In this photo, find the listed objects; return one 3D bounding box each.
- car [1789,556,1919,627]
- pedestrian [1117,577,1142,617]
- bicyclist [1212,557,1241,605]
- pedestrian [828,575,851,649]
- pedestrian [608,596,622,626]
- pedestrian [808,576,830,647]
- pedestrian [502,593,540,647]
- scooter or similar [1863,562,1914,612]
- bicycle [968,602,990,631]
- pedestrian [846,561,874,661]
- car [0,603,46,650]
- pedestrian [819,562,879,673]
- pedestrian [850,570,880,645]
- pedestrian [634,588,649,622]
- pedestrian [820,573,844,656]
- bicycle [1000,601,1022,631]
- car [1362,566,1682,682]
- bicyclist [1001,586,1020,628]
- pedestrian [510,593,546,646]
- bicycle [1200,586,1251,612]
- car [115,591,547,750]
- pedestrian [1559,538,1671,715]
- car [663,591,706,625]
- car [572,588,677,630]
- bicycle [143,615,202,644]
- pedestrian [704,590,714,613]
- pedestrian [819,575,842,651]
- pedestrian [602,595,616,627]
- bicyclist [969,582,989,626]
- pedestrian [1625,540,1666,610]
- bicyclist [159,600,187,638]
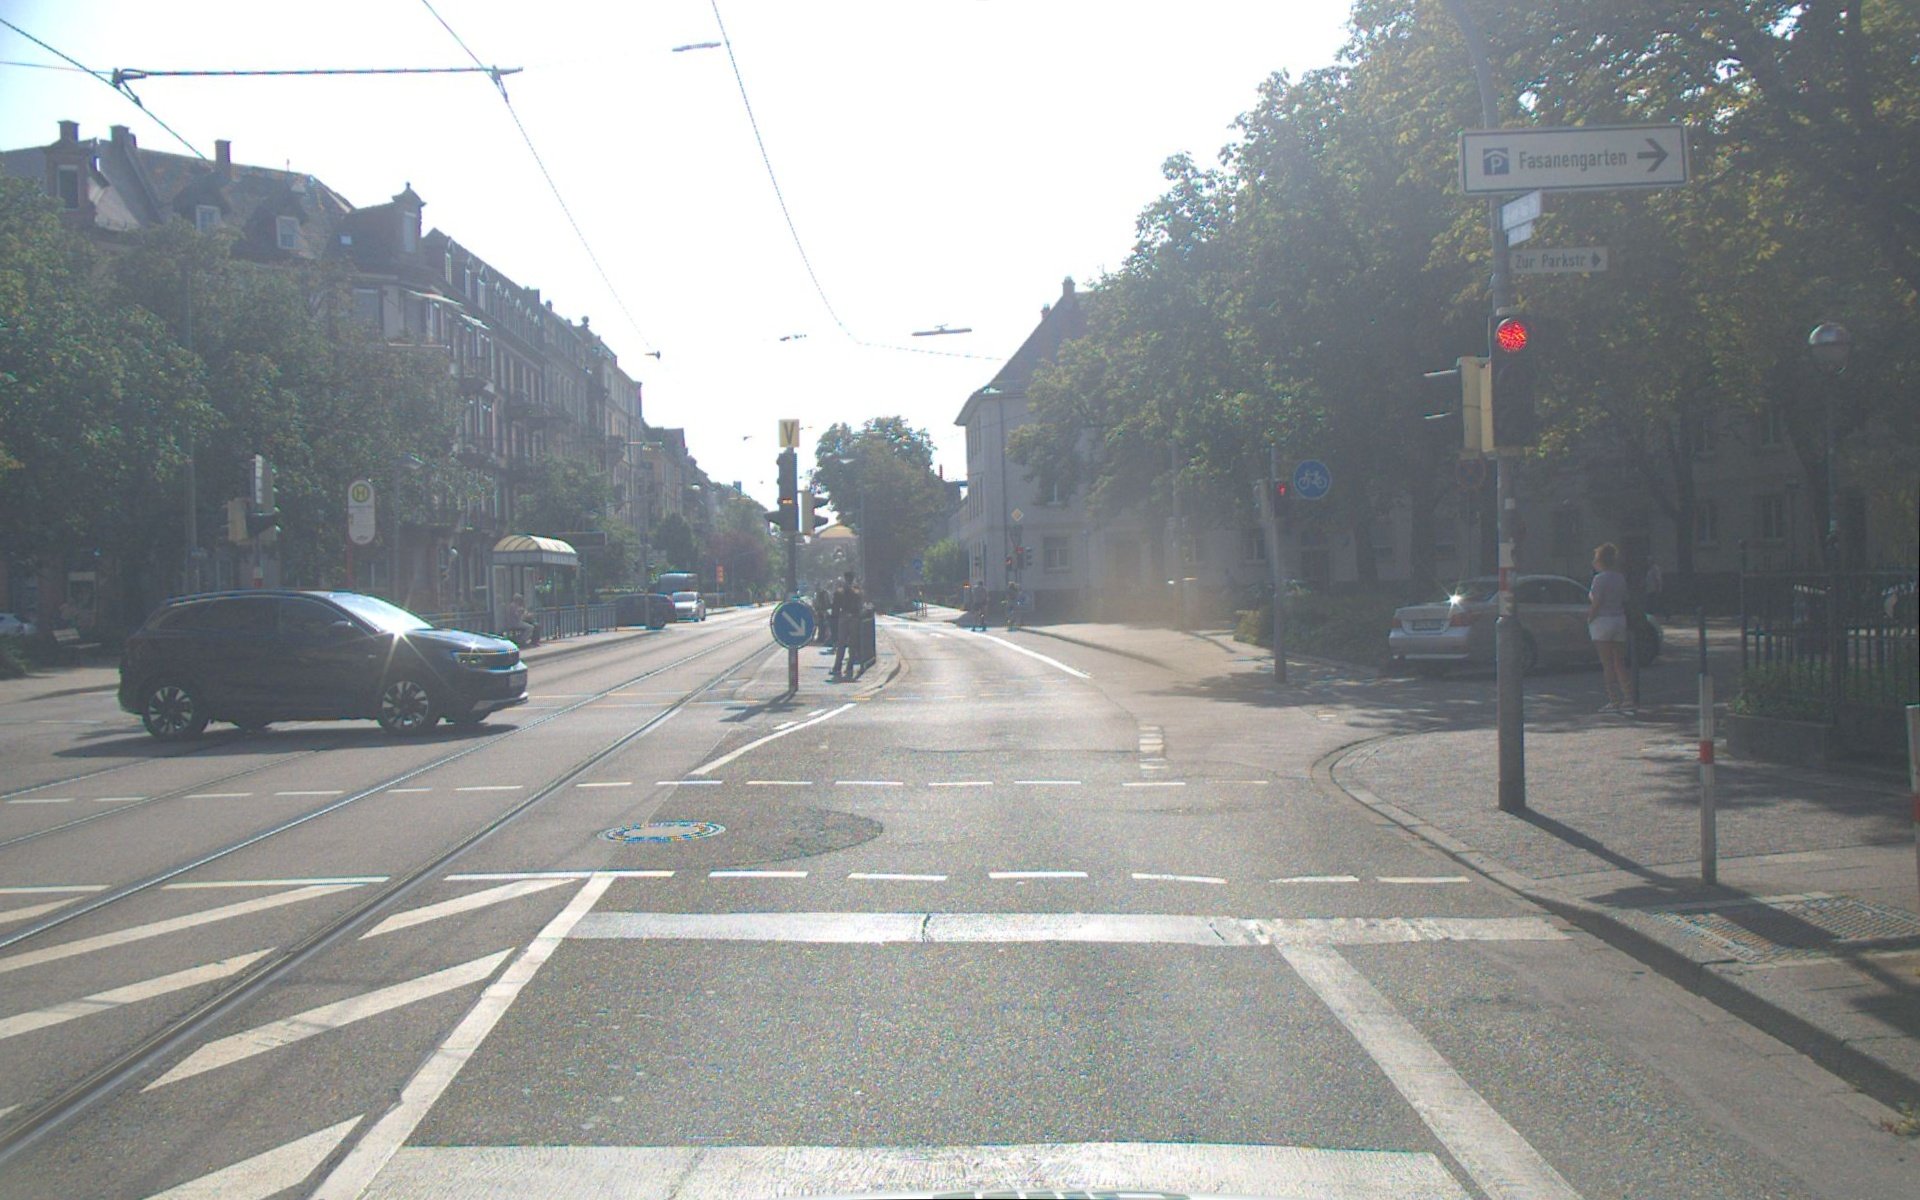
[{"bbox_3d":[20.436,-0.211,36.395,1.722,1.453,4.133,-2,1,-12],"label":"car"},{"bbox_3d":[7.714,-0.142,75.435,0.873,1.770,0.775,-2,0,26],"label":"pedestrian"},{"bbox_3d":[10.644,-0.745,66.054,0.967,1.889,0.492,-2,0,26],"label":"bicyclist"},{"bbox_3d":[-2.987,0.298,40.985,0.532,1.790,0.534,1,2,-3],"label":"pedestrian"},{"bbox_3d":[-20.417,0.641,97.891,0.737,1.761,0.769,-2,0,-12],"label":"pedestrian"},{"bbox_3d":[-3.613,0.298,42.370,0.521,1.790,0.545,1,2,-2],"label":"pedestrian"},{"bbox_3d":[-11.497,0.520,43.348,0.812,1.382,0.775,-2,0,-8],"label":"pedestrian"},{"bbox_3d":[24.032,-0.334,42.816,1.049,1.218,0.459,-5,0,29],"label":"scooter or similar"},{"bbox_3d":[0.677,0.585,59.040,0.616,0.995,1.768,-2,1,-5],"label":"bicycle"},{"bbox_3d":[-1.899,0.200,31.516,0.494,1.865,0.534,1,2,-3],"label":"pedestrian"},{"bbox_3d":[-34.270,0.958,57.142,4.243,1.596,1.996,-2,0,-10],"label":"car"},{"bbox_3d":[-1.828,0.271,27.250,0.687,1.755,0.747,2,3,29],"label":"pedestrian"},{"bbox_3d":[-2.315,0.169,40.401,0.695,1.790,0.534,1,2,-3],"label":"pedestrian"},{"bbox_3d":[-16.921,0.256,87.801,0.737,1.761,0.769,-2,0,-12],"label":"pedestrian"},{"bbox_3d":[-2.794,0.316,36.174,0.494,1.790,0.534,1,2,-3],"label":"pedestrian"},{"bbox_3d":[1.802,0.560,58.456,0.547,0.995,1.854,-2,1,-5],"label":"bicycle"},{"bbox_3d":[8.501,0.347,24.918,4.720,1.492,1.851,-2,-2,-30],"label":"car"},{"bbox_3d":[1.786,0.246,58.468,0.547,1.441,0.871,-2,0,-5],"label":"bicyclist"},{"bbox_3d":[-11.574,0.517,44.321,0.812,1.382,0.775,-2,0,-8],"label":"pedestrian"},{"bbox_3d":[10.607,-0.027,66.081,1.898,0.995,0.496,-2,0,26],"label":"bicycle"},{"bbox_3d":[-6.874,0.749,18.284,4.125,1.541,1.613,-2,1,5],"label":"car"},{"bbox_3d":[6.765,0.265,17.112,0.737,1.761,0.769,-2,0,-12],"label":"pedestrian"},{"bbox_3d":[-14.544,0.389,87.417,1.765,1.682,3.641,-2,0,-2],"label":"car"},{"bbox_3d":[-14.158,0.375,69.793,4.247,1.596,1.994,-2,0,-13],"label":"car"},{"bbox_3d":[-28.720,1.069,60.337,1.838,0.974,0.541,-2,1,-38],"label":"bicycle"},{"bbox_3d":[-20.021,0.131,131.952,0.737,1.761,0.769,-2,0,-12],"label":"pedestrian"},{"bbox_3d":[-3.149,0.310,40.166,0.532,1.790,0.534,1,2,-3],"label":"pedestrian"},{"bbox_3d":[-20.047,0.623,94.393,0.737,1.761,0.769,-2,0,-12],"label":"pedestrian"},{"bbox_3d":[0.670,0.144,59.036,0.616,1.534,0.678,-2,0,-5],"label":"bicyclist"},{"bbox_3d":[17.846,-0.653,43.067,0.872,1.770,0.777,-2,0,16],"label":"pedestrian"},{"bbox_3d":[-28.720,0.694,60.346,0.813,1.351,0.541,-2,1,-38],"label":"bicyclist"}]
